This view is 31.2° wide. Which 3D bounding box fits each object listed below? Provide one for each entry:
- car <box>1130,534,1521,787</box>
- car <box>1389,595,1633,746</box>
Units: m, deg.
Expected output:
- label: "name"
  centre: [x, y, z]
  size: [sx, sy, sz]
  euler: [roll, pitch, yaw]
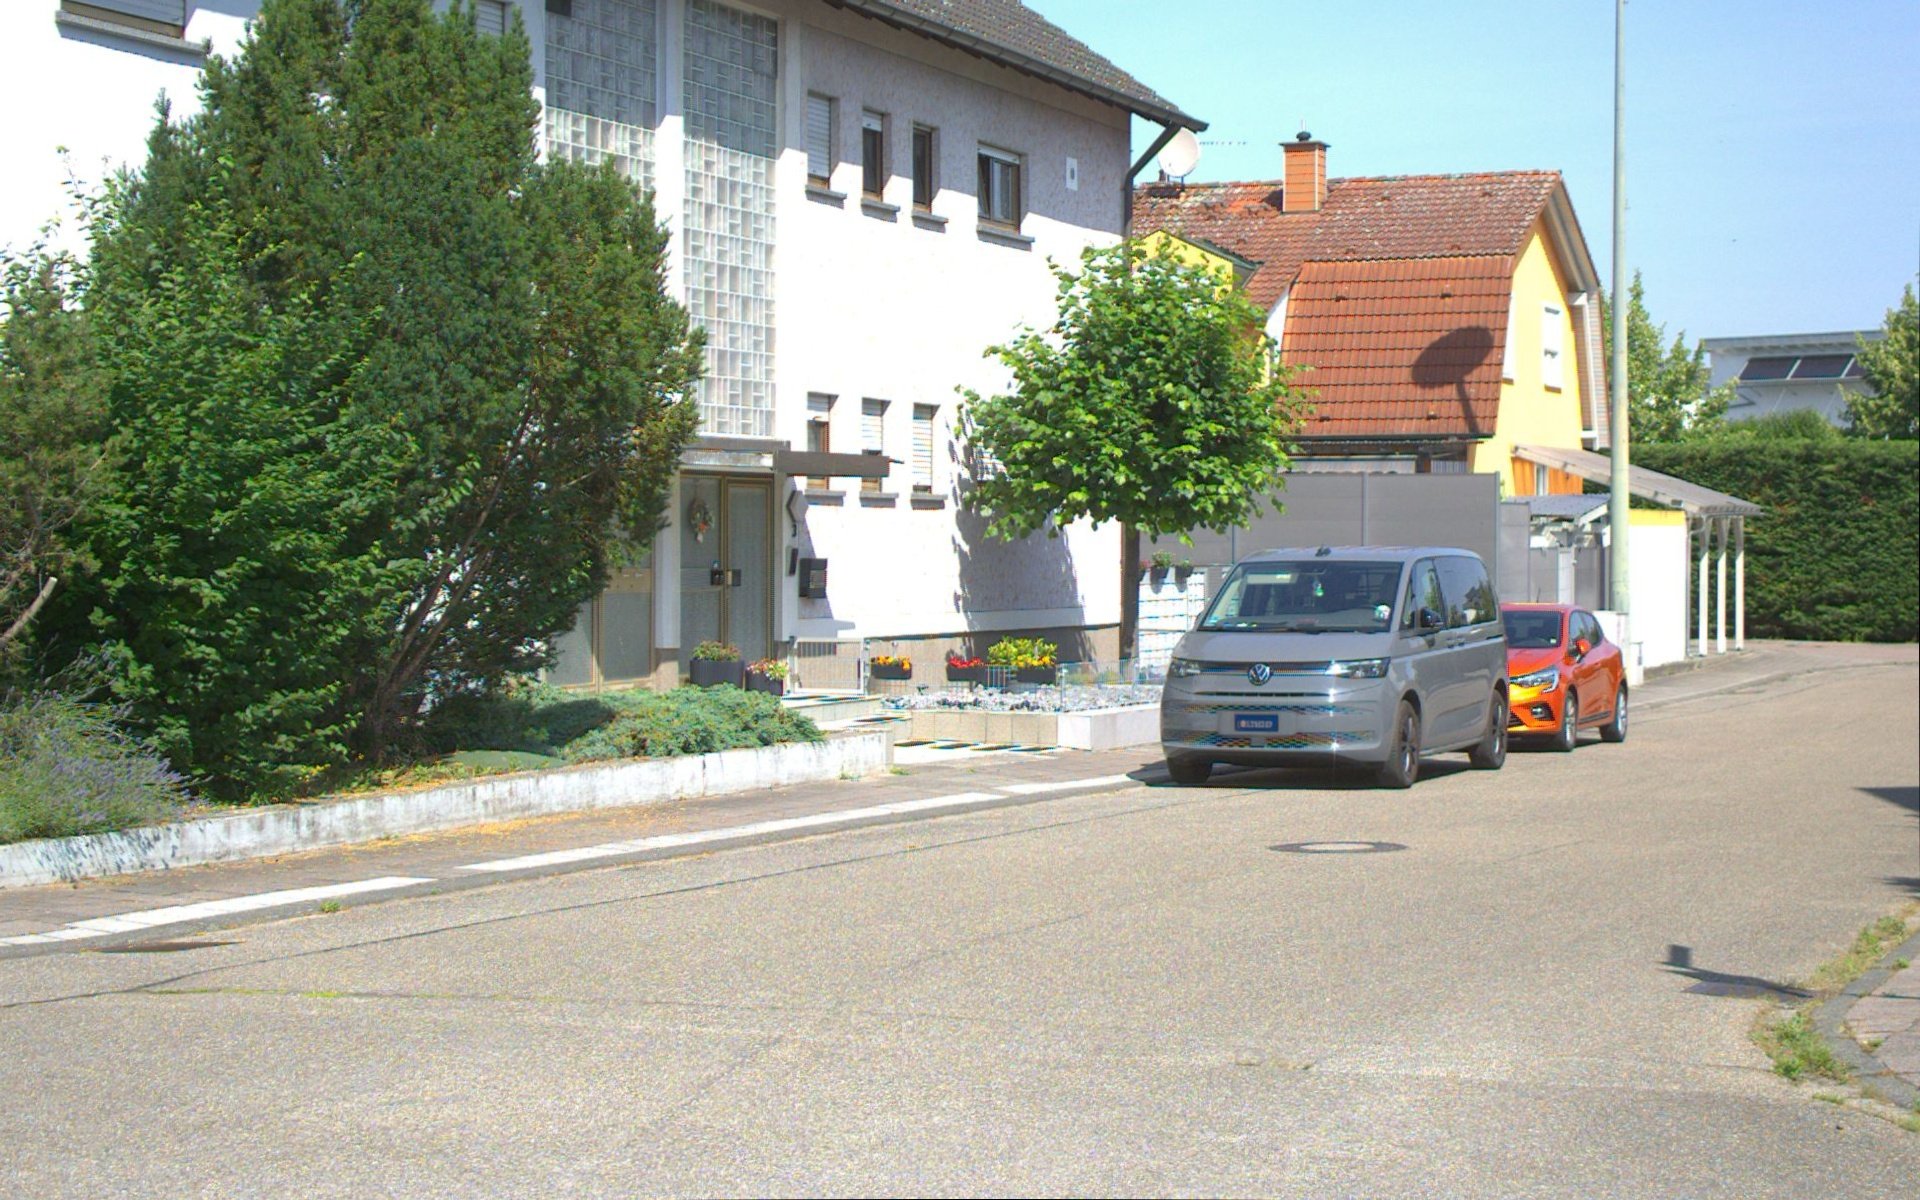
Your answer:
- label: "car"
  centre: [3.078, 0.413, 28.134]
  size: [1.903, 1.863, 4.366]
  euler: [2, 2, 24]
- label: "car"
  centre: [5.526, 0.656, 34.145]
  size: [1.653, 1.360, 3.775]
  euler: [0, 1, 21]
